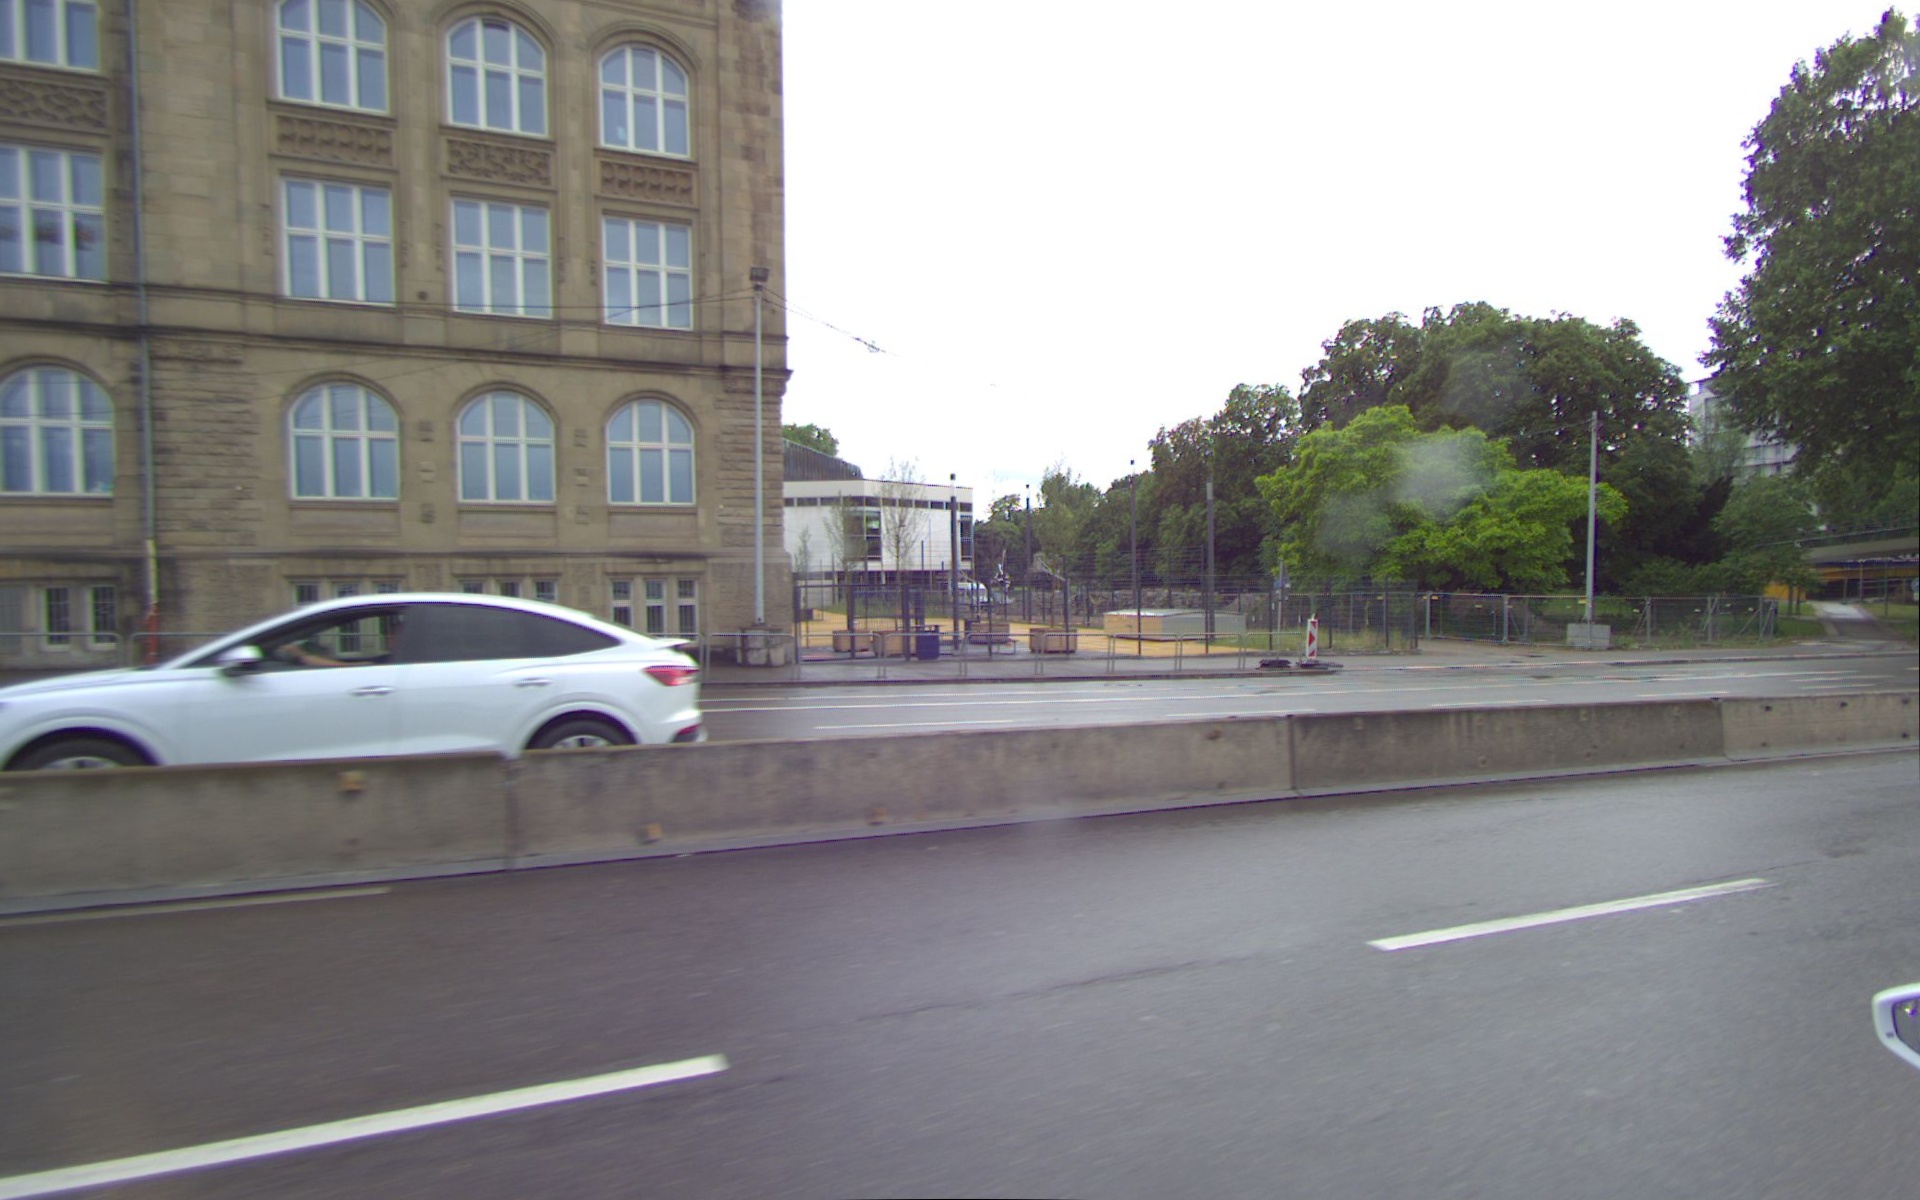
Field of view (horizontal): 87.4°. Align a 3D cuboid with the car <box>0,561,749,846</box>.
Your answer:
[{"bbox_3d":[-4.131,0.622,7.233,4.833,1.588,1.888,1,-2,-26],"label":"car"}]
